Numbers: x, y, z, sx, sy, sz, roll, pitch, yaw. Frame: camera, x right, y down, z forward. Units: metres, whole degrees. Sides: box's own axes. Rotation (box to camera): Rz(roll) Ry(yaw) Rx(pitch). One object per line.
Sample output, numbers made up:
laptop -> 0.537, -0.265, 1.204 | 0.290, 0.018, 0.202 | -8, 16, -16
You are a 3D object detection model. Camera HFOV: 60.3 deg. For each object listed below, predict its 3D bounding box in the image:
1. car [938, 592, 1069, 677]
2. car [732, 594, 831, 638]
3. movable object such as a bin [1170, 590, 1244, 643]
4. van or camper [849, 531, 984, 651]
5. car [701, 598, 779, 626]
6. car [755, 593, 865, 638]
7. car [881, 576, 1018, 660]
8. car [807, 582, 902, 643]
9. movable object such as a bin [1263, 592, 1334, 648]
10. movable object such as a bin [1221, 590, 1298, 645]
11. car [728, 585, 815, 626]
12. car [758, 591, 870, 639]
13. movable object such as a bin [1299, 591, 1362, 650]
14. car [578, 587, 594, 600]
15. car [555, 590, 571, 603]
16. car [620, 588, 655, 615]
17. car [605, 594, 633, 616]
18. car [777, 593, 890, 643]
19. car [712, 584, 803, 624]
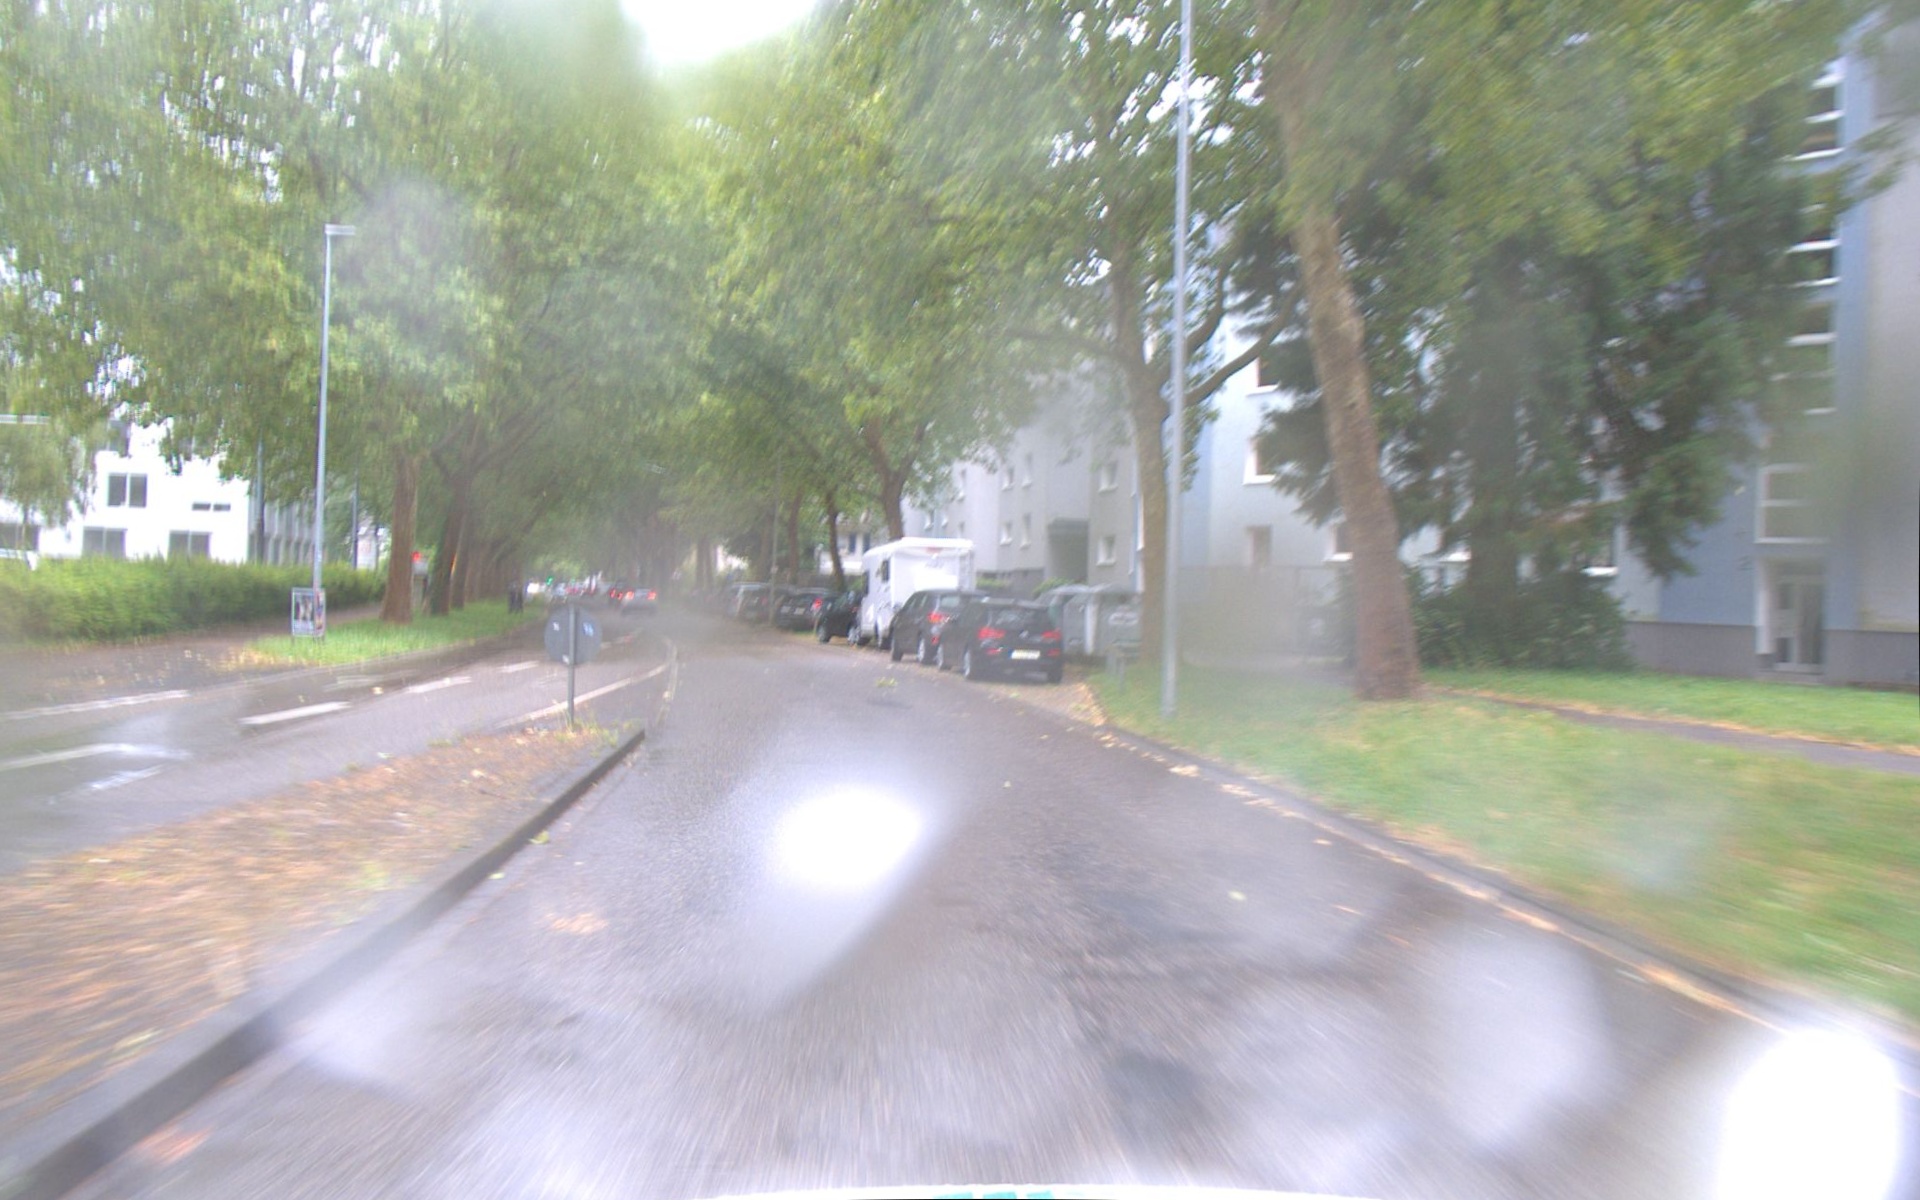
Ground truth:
car -> 0.742, 0.599, 30.881 | 1.521, 1.414, 4.138 | 3, 0, -11
car -> -7.465, 0.652, 69.442 | 3.835, 1.727, 1.810 | -1, 2, -42
movable object such as a bin -> 7.225, 0.467, 48.425 | 1.201, 1.457, 1.843 | 3, 0, -32
van or camper -> -1.287, -0.212, 43.917 | 2.278, 2.856, 6.843 | 2, 0, -12
car -> -11.857, 0.634, 89.035 | 3.971, 1.466, 1.677 | -1, 1, -17
car -> -6.019, 0.621, 66.589 | 3.965, 1.629, 2.005 | 3, 0, -42
car -> -0.299, 0.416, 36.097 | 1.884, 1.649, 4.435 | 3, -2, -15
car -> -3.160, 0.356, 49.117 | 1.669, 1.681, 2.917 | 3, 0, -30
movable object such as a bin -> 9.321, 0.557, 45.591 | 1.304, 1.457, 1.356 | 3, 0, -32
movable object such as a bin -> 8.508, 0.497, 47.008 | 1.201, 1.457, 1.843 | 3, 0, -32
car -> -9.000, 0.254, 78.939 | 3.919, 1.757, 1.795 | 3, 0, -14
car -> -5.485, 0.576, 62.453 | 3.970, 1.629, 1.774 | 3, 0, -45
movable object such as a bin -> 9.887, 0.532, 44.198 | 1.147, 1.498, 1.210 | -1, 2, -32
car -> -41.497, -0.703, 183.385 | 1.677, 1.436, 3.631 | 0, 1, -14
car -> -44.015, -0.423, 183.525 | 1.650, 1.413, 4.533 | 1, 0, -13
car -> -17.410, 0.057, 89.192 | 1.677, 1.436, 3.631 | 0, 1, -14
car -> -23.103, 0.342, 112.026 | 1.677, 1.436, 3.631 | 0, 1, -14
car -> -4.481, 0.658, 58.992 | 3.740, 1.629, 1.774 | 3, 0, -45
car -> -10.094, 0.184, 82.308 | 4.264, 1.792, 1.812 | 3, 0, -14
